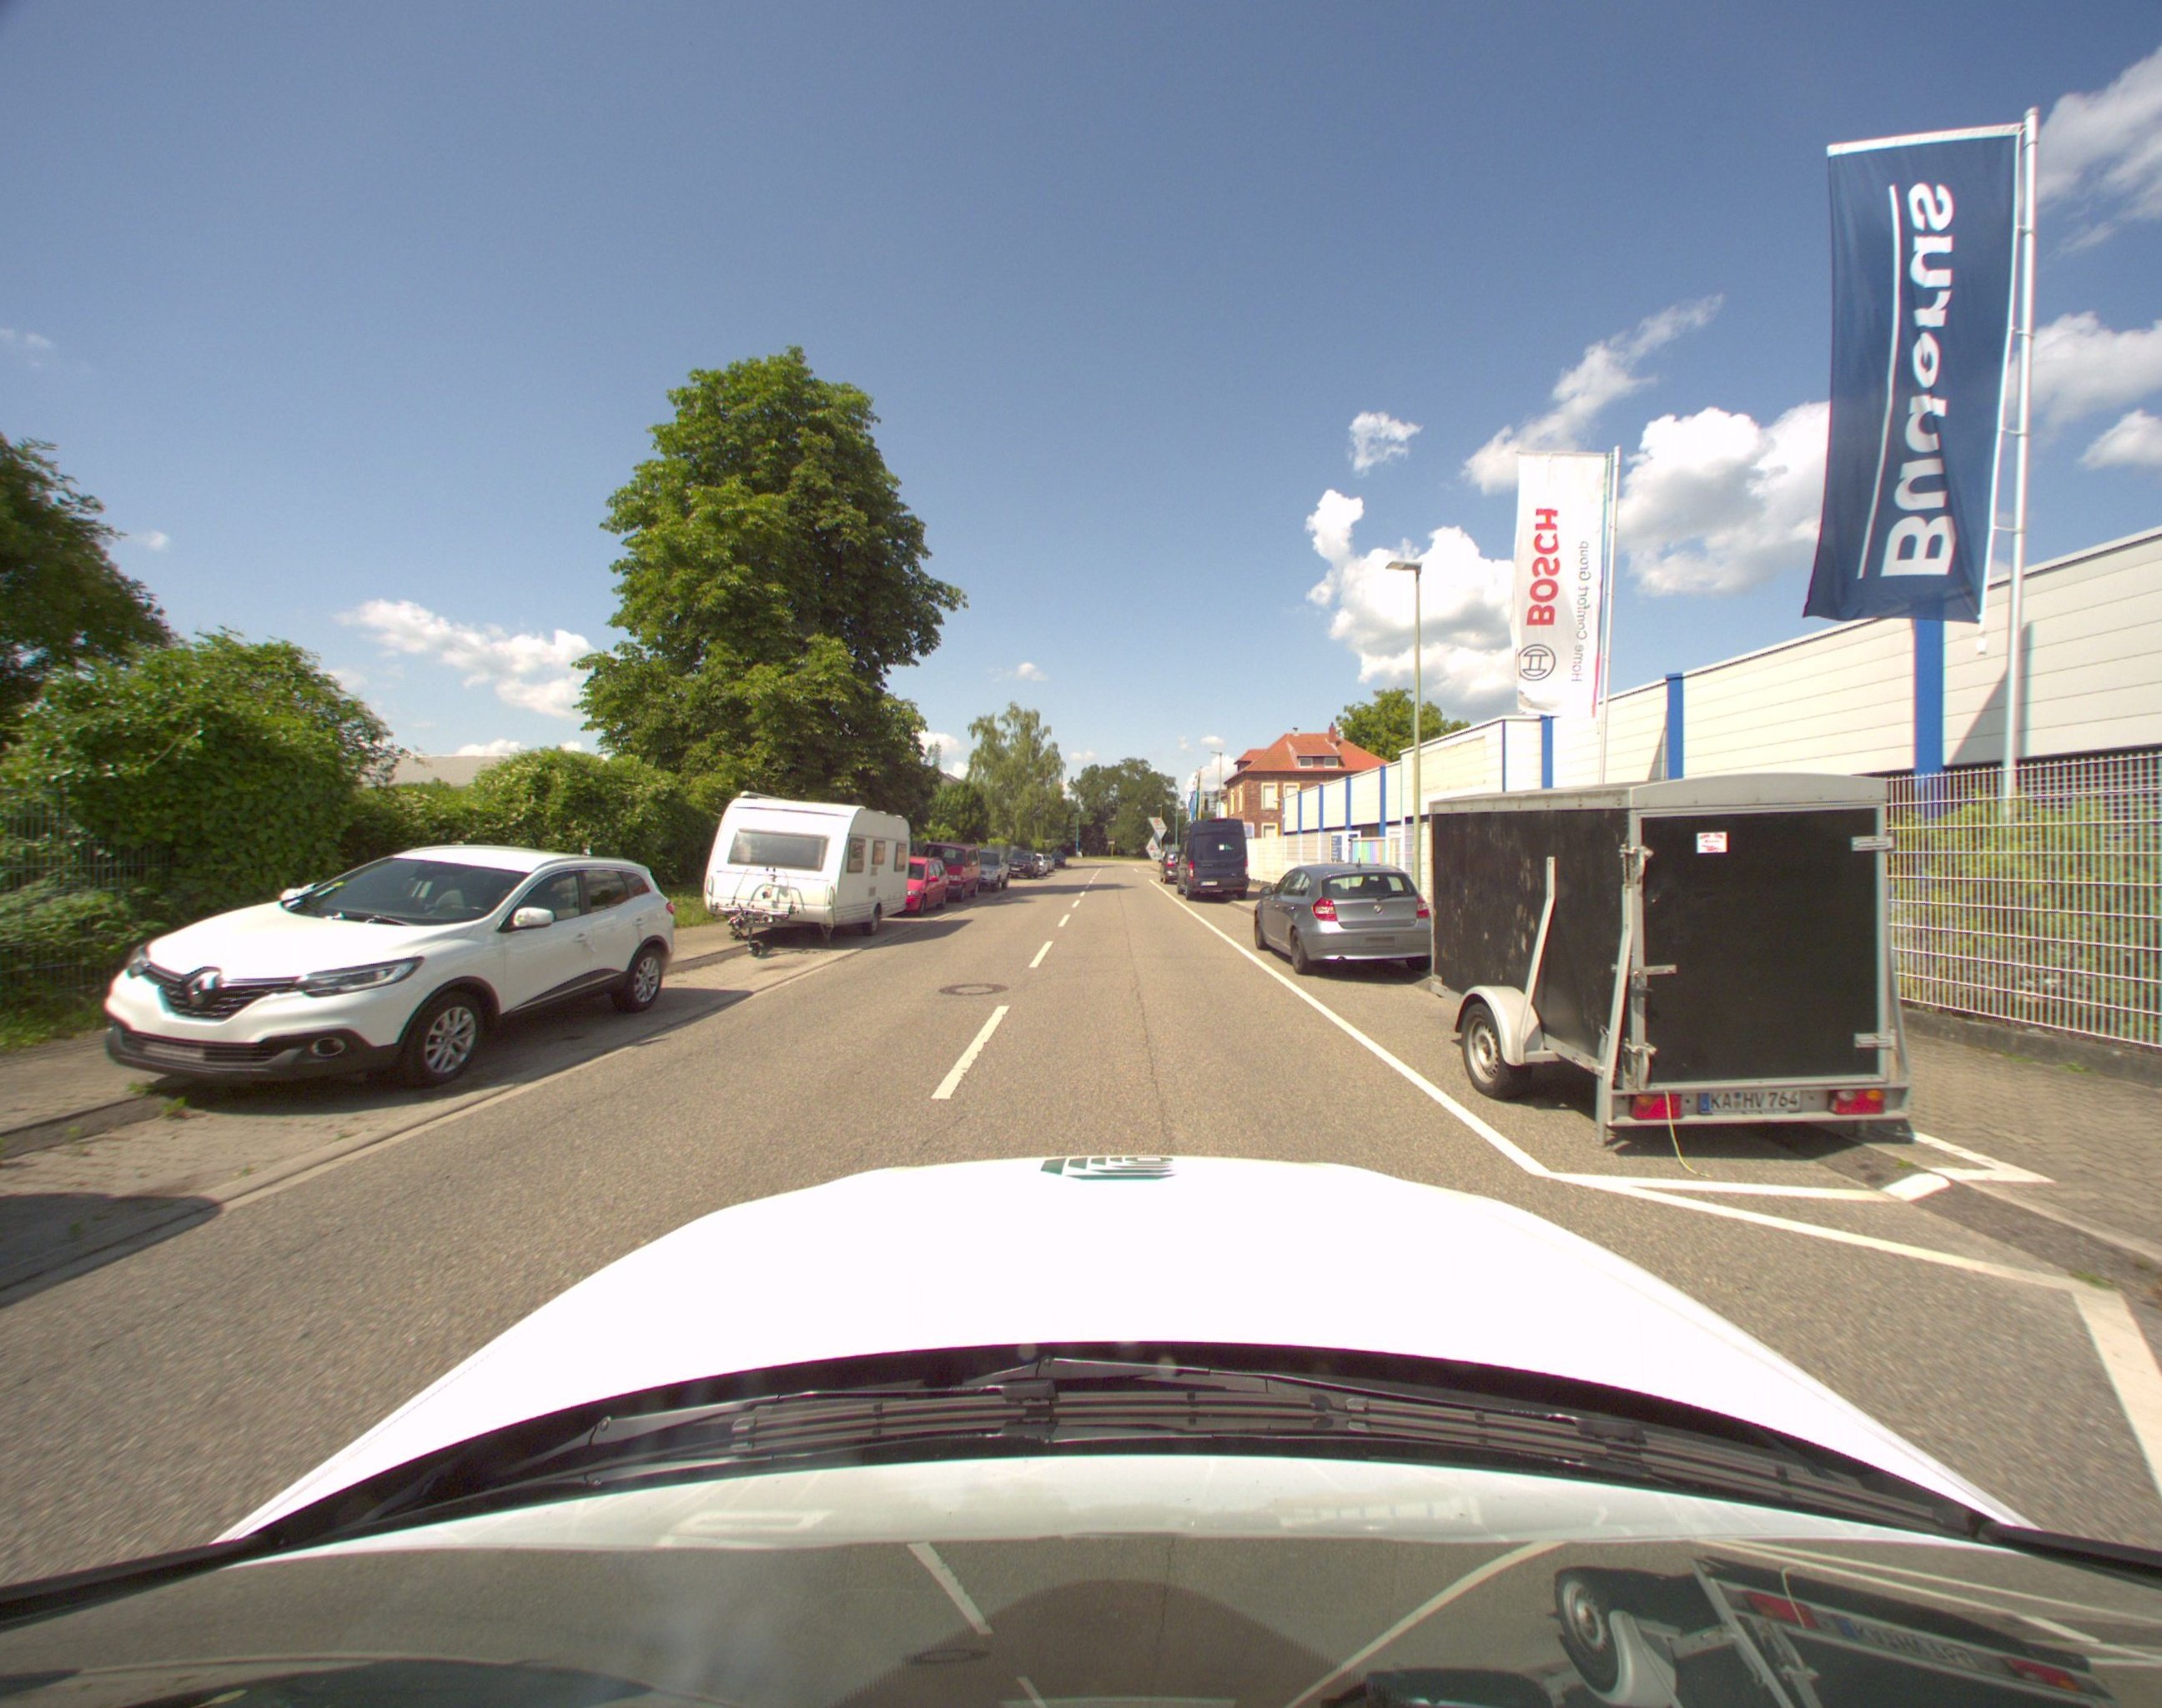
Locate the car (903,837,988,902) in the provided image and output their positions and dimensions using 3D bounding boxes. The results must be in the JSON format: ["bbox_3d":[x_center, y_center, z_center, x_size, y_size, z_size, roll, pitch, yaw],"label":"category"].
[{"bbox_3d":[-4.705,0.503,29.042,1.891,1.954,4.960,5,0,2],"label":"car"}]

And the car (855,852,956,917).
[{"bbox_3d":[-4.776,0.760,22.751,1.618,1.532,4.271,4,0,2],"label":"car"}]

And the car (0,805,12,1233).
[{"bbox_3d":[-5.518,0.707,1.097,1.820,1.793,4.737,0,0,2],"label":"car"}]

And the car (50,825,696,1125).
[{"bbox_3d":[-5.285,0.721,7.107,1.679,1.692,4.443,4,0,-1],"label":"car"}]

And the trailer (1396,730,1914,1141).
[{"bbox_3d":[3.404,0.402,5.453,1.595,2.037,2.742,1,0,2],"label":"trailer"}]

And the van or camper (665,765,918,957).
[{"bbox_3d":[-5.107,0.102,15.871,2.255,2.803,6.834,3,0,1],"label":"van or camper"}]

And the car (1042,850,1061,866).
[{"bbox_3d":[-3.057,0.425,84.440,1.676,1.512,4.158,4,0,1],"label":"car"}]

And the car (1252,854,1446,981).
[{"bbox_3d":[3.625,0.761,11.771,1.566,1.507,4.134,0,0,2],"label":"car"}]

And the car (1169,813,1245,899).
[{"bbox_3d":[4.370,0.050,29.180,1.930,2.748,6.157,1,0,2],"label":"car"}]

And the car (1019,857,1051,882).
[{"bbox_3d":[-3.104,1.007,55.999,1.693,1.595,4.791,1,0,3],"label":"car"}]

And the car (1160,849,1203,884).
[{"bbox_3d":[5.019,0.568,41.218,1.817,1.664,4.559,-1,0,3],"label":"car"}]

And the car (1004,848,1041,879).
[{"bbox_3d":[-3.529,0.536,49.703,1.603,1.745,4.641,2,0,4],"label":"car"}]

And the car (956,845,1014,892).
[{"bbox_3d":[-4.058,0.586,35.056,1.692,1.802,3.831,3,1,4],"label":"car"}]
